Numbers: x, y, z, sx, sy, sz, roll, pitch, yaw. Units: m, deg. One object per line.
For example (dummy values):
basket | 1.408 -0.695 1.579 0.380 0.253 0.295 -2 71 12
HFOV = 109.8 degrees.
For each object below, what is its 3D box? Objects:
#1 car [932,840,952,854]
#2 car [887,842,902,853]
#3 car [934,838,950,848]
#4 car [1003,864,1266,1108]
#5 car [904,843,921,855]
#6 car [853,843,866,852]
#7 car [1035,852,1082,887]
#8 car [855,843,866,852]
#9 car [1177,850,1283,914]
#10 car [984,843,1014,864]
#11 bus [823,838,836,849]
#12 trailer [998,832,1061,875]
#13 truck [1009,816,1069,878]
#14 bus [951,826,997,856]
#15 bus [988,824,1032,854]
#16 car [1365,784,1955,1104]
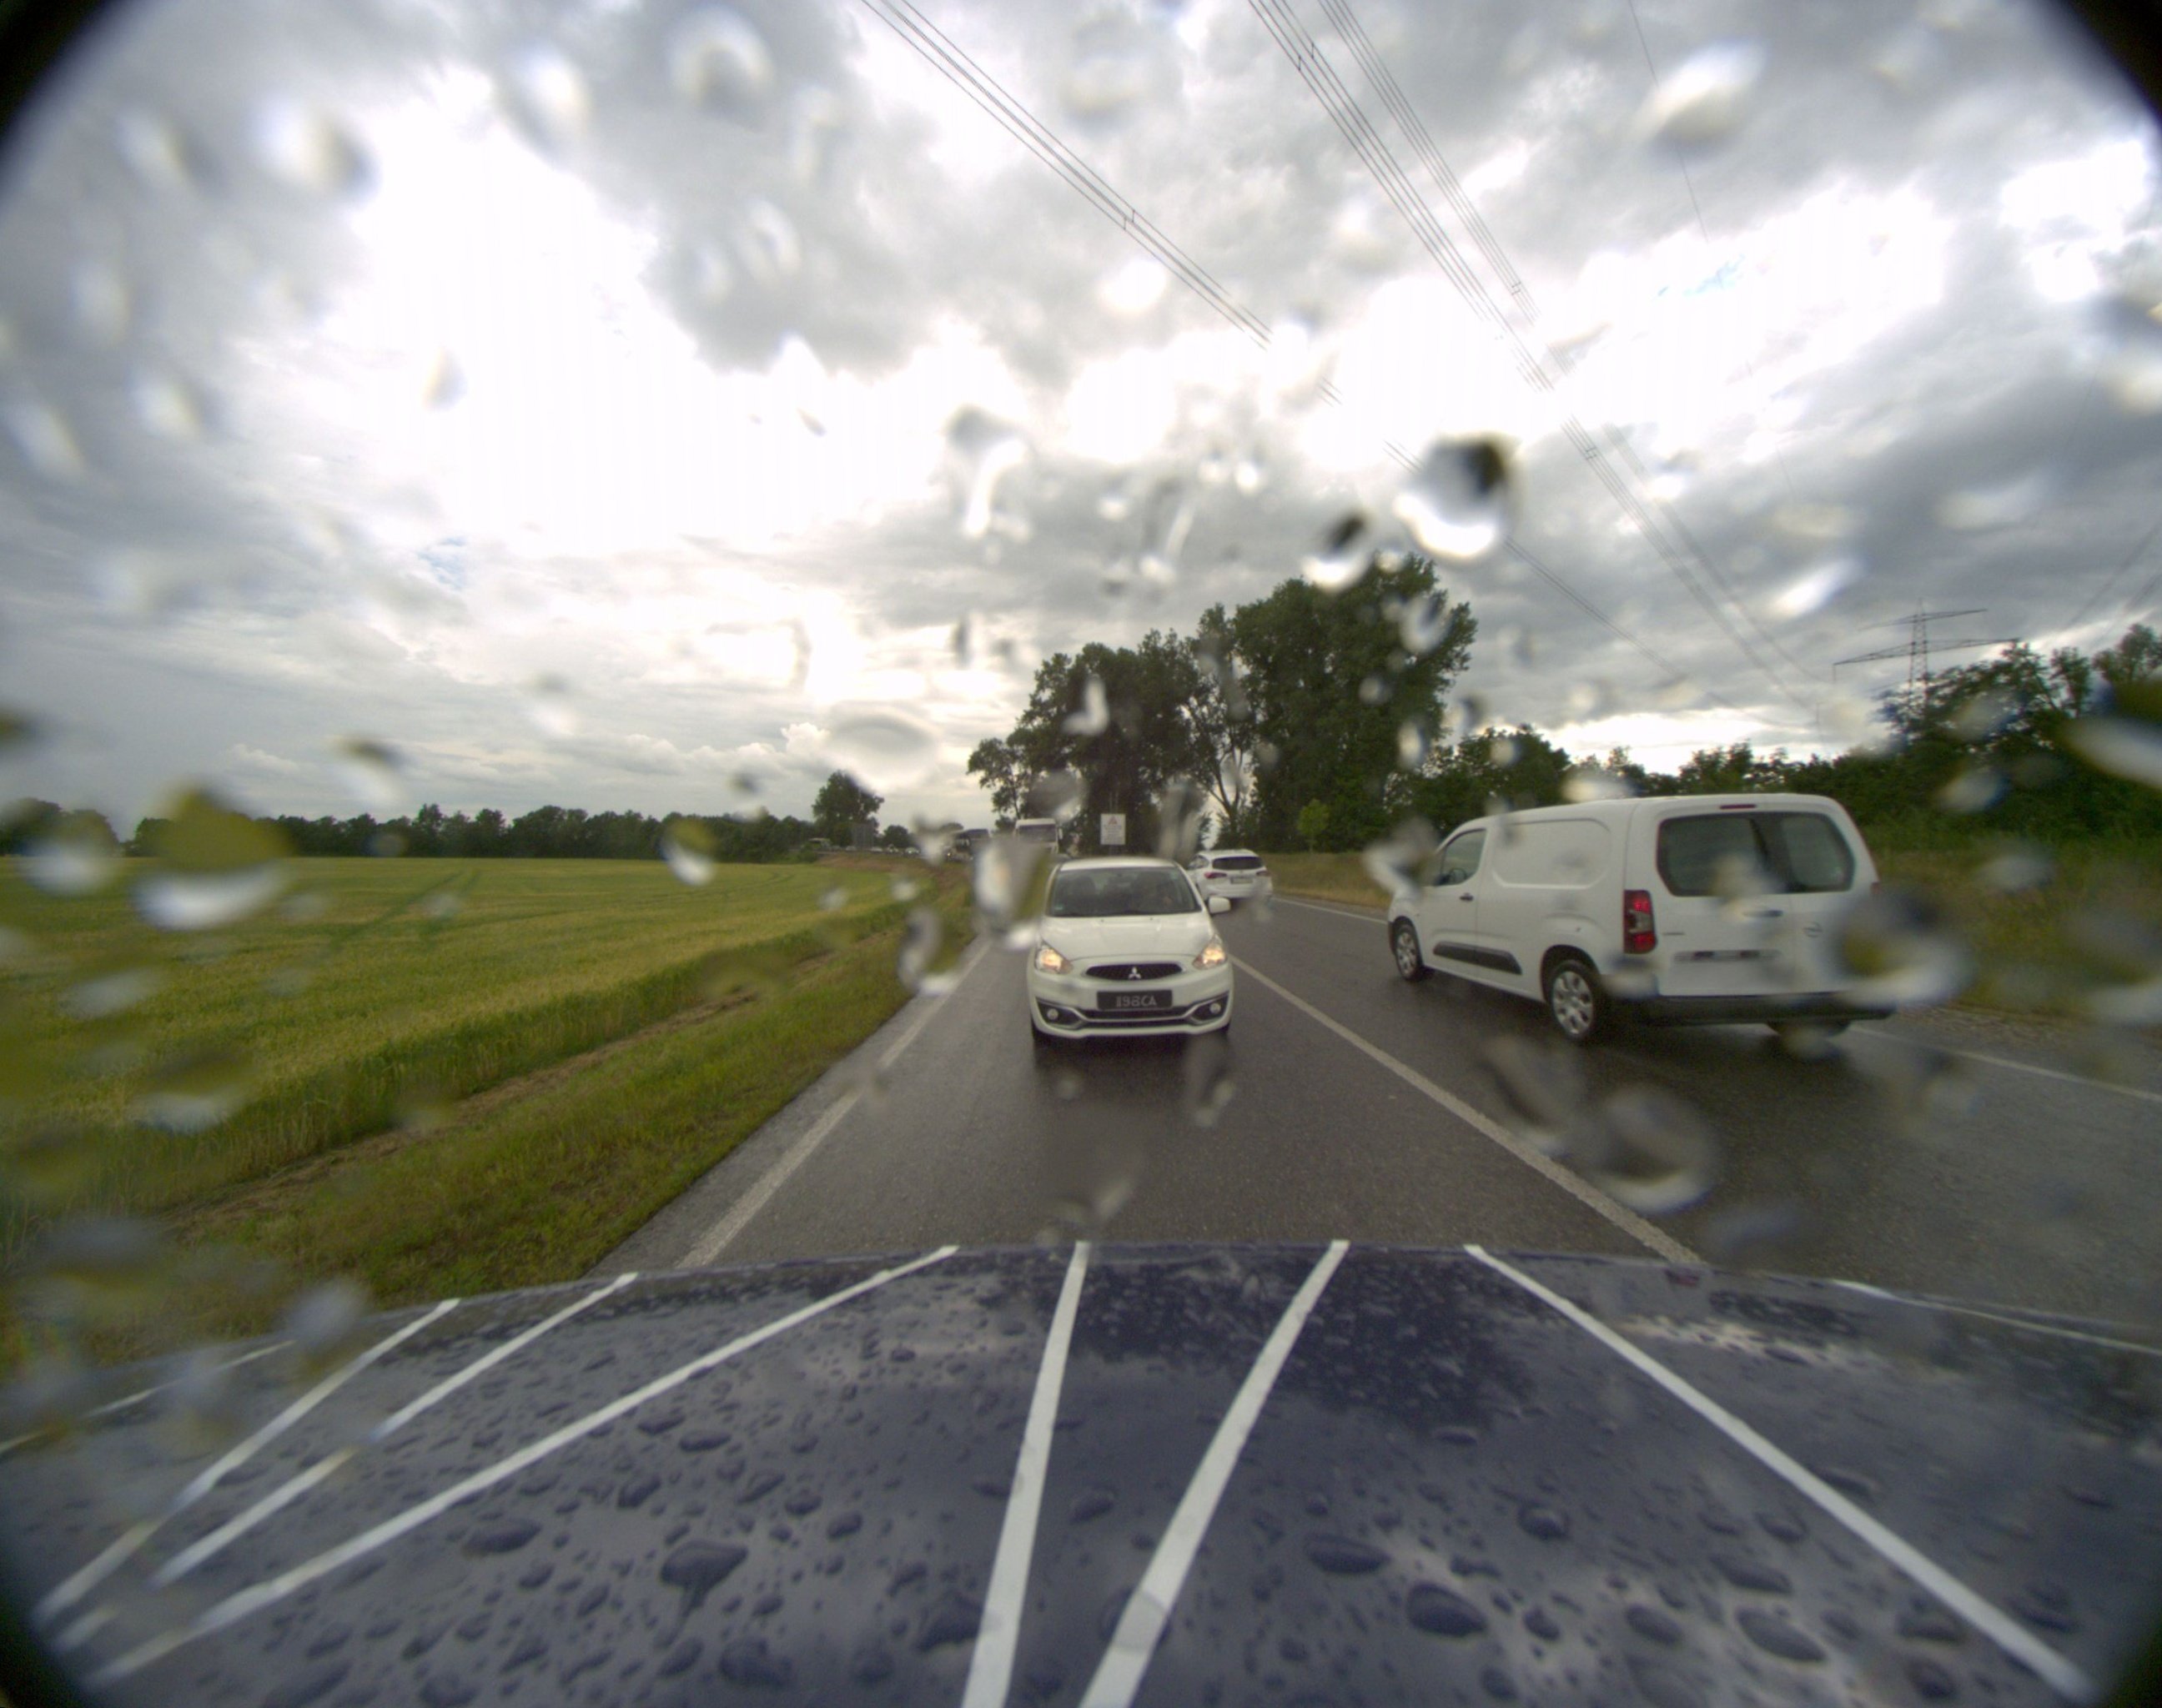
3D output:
car | -21.336 -1.134 116.718 2.002 2.002 5.325 -3 2 -21
car | -37.398 -1.329 152.153 2.002 2.002 4.222 -4 2 -27
car | -30.284 -2.456 165.622 2.003 2.002 4.109 -4 2 -31
car | 0.352 0.887 6.954 1.653 1.461 4.030 -3 0 0
car | -30.568 -0.966 137.585 2.002 2.002 4.223 -4 2 -24
car | -53.932 -1.593 185.046 2.003 2.002 4.222 -4 2 -29
car | -1.123 0.679 36.262 1.782 1.380 4.324 -3 2 -7
car | -56.491 -1.646 194.768 1.877 2.002 4.222 -4 2 -28
car | 3.782 0.646 20.052 1.849 1.380 4.286 -3 1 -1
car | -7.982 -0.071 73.585 2.044 1.832 5.328 -3 2 -14
bus | -69.250 -2.848 209.234 2.003 2.899 6.992 -4 2 -30
trailer | -4.153 -0.215 56.781 2.986 2.618 15.664 -3 2 -9
truck | -2.747 -0.499 48.341 2.986 3.590 6.073 -3 2 -9
bus | -13.309 -1.694 93.235 2.968 3.294 14.810 -3 3 -18
bus | -8.693 -1.644 91.782 2.769 3.279 12.483 -3 1 -16
car | 4.319 0.525 6.790 1.849 1.845 4.446 -3 1 0
